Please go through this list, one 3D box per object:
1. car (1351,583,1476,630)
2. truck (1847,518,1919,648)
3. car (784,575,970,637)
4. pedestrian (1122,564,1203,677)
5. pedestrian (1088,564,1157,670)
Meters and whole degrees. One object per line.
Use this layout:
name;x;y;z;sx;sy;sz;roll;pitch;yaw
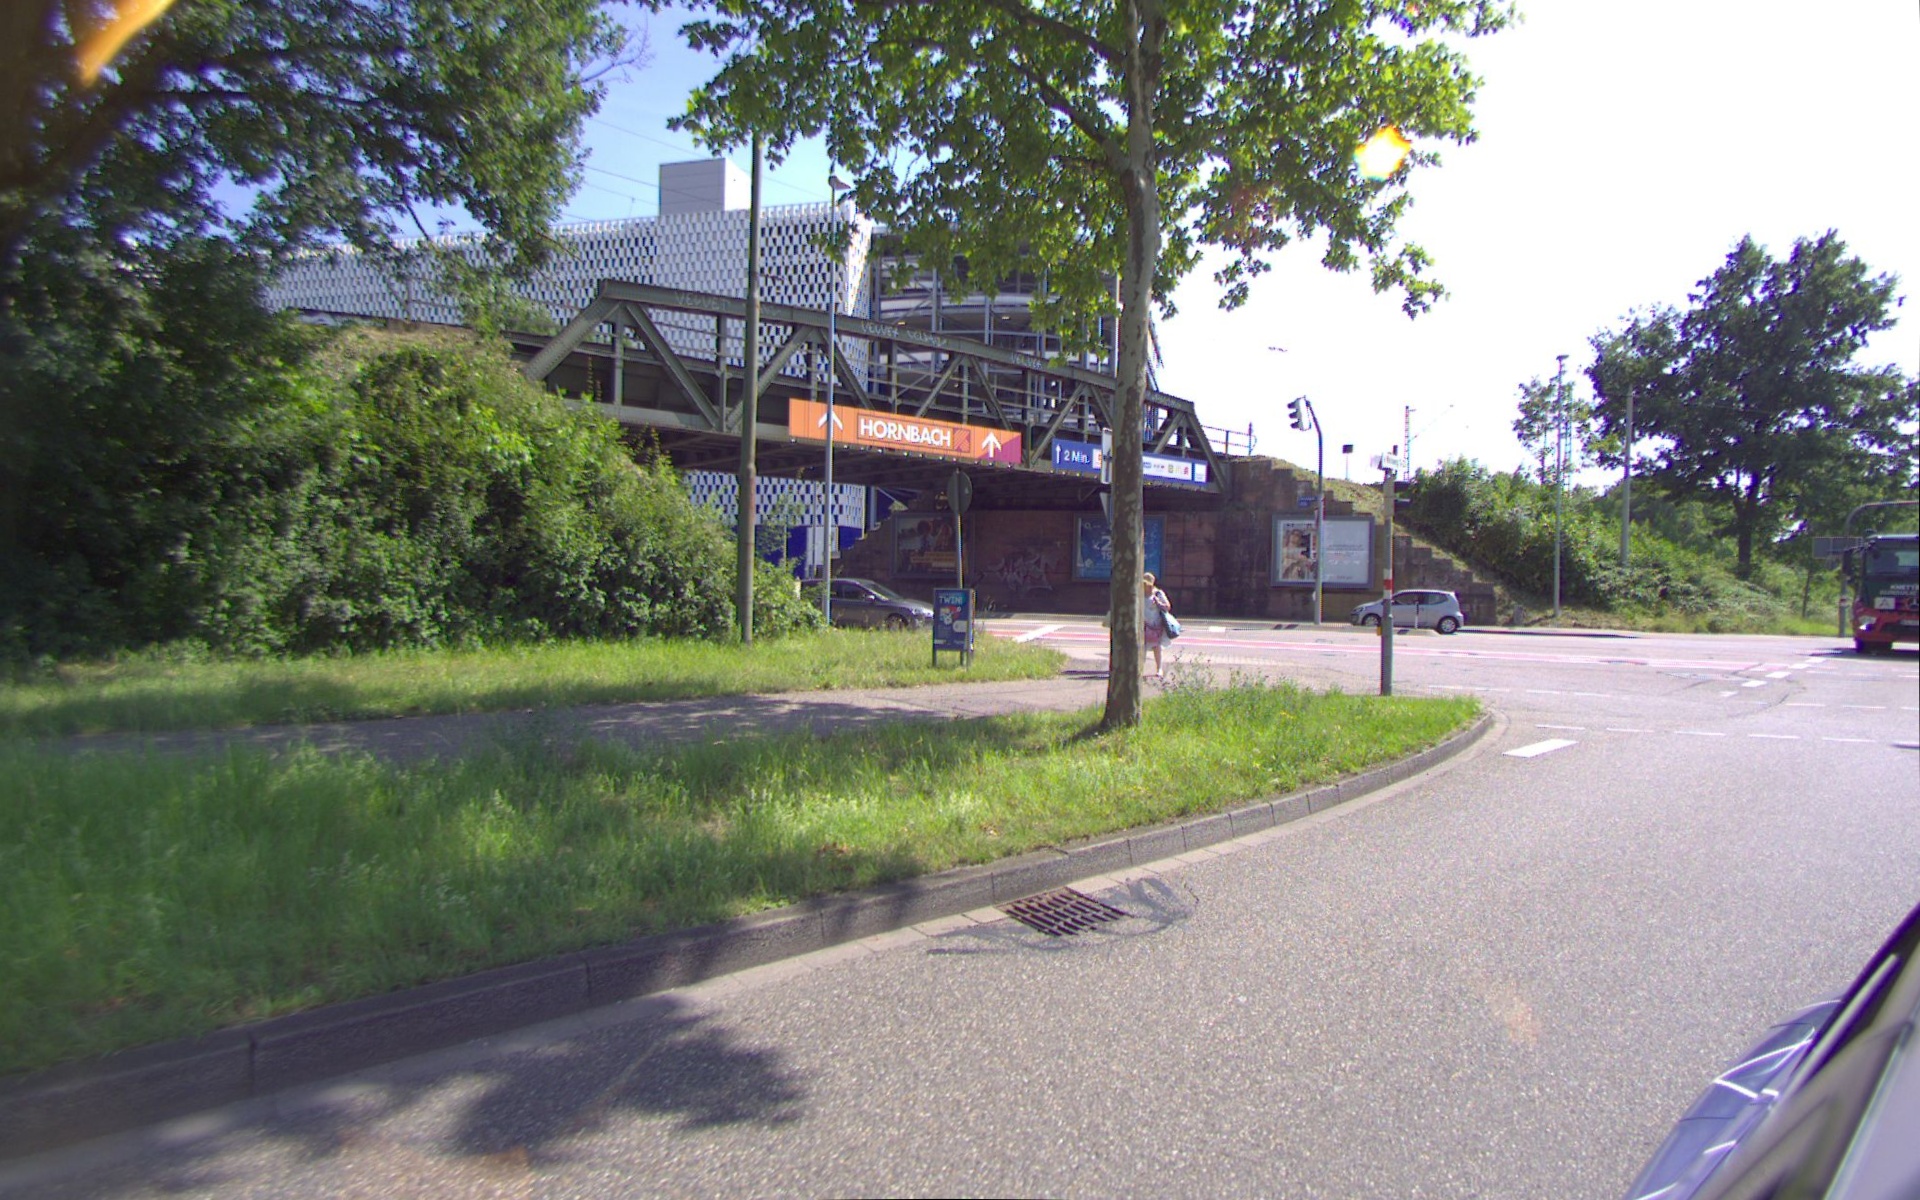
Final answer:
car;15.309;0.182;34.382;3.628;1.455;1.697;2;1;17
truck;27.050;-0.418;28.176;7.356;3.307;2.772;0;1;-43
car;-2.125;0.119;26.298;4.434;1.426;1.992;1;1;14
pedestrian;3.026;0.287;15.146;0.764;1.632;0.869;1;1;-41
pedestrian;2.542;0.253;15.828;0.764;1.599;0.730;1;1;-41
